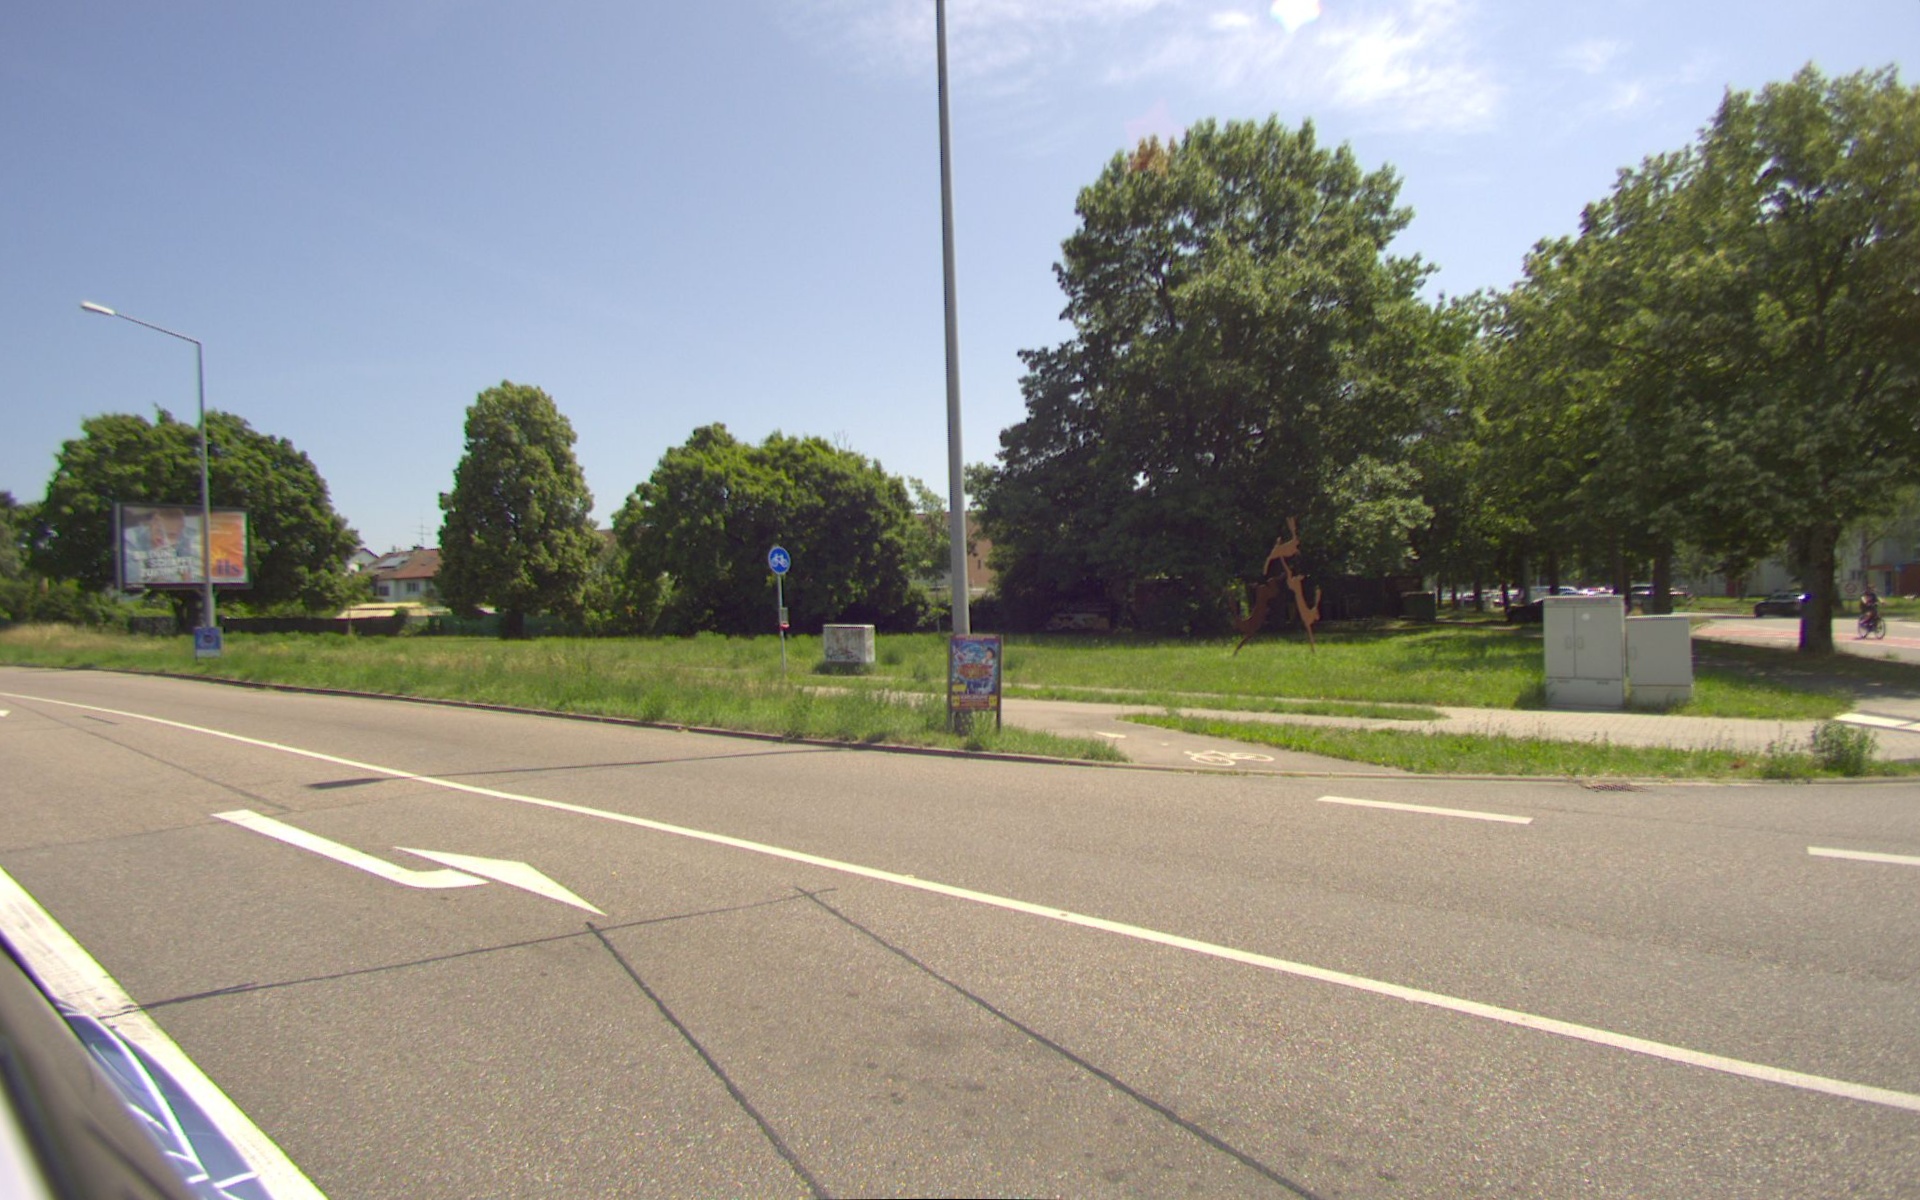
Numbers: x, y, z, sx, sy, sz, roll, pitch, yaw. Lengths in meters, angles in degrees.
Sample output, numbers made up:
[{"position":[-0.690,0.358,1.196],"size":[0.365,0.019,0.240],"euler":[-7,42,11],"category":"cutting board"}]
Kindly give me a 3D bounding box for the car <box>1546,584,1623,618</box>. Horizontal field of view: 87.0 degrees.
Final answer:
[{"position":[41.678,0.047,67.637],"size":[3.971,2.028,1.987],"euler":[-2,3,21],"category":"car"}]

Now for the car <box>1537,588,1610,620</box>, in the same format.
[{"position":[42.649,0.264,70.423],"size":[3.971,2.028,1.987],"euler":[-2,3,21],"category":"car"}]

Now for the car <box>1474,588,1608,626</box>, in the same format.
[{"position":[24.911,0.337,43.552],"size":[1.966,1.479,4.597],"euler":[-1,-1,-32],"category":"car"}]

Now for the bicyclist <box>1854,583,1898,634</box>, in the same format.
[{"position":[30.850,0.285,34.098],"size":[0.767,1.705,0.892],"euler":[-1,-1,18],"category":"bicyclist"}]

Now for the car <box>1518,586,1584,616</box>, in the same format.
[{"position":[45.044,0.065,77.235],"size":[3.971,2.028,1.987],"euler":[-2,3,21],"category":"car"}]

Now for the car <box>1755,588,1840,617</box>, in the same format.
[{"position":[46.433,0.126,56.220],"size":[1.896,1.510,4.606],"euler":[-1,0,16],"category":"car"}]

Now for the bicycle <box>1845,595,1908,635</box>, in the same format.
[{"position":[30.830,0.491,34.075],"size":[0.767,1.309,2.049],"euler":[-1,0,18],"category":"bicycle"}]
